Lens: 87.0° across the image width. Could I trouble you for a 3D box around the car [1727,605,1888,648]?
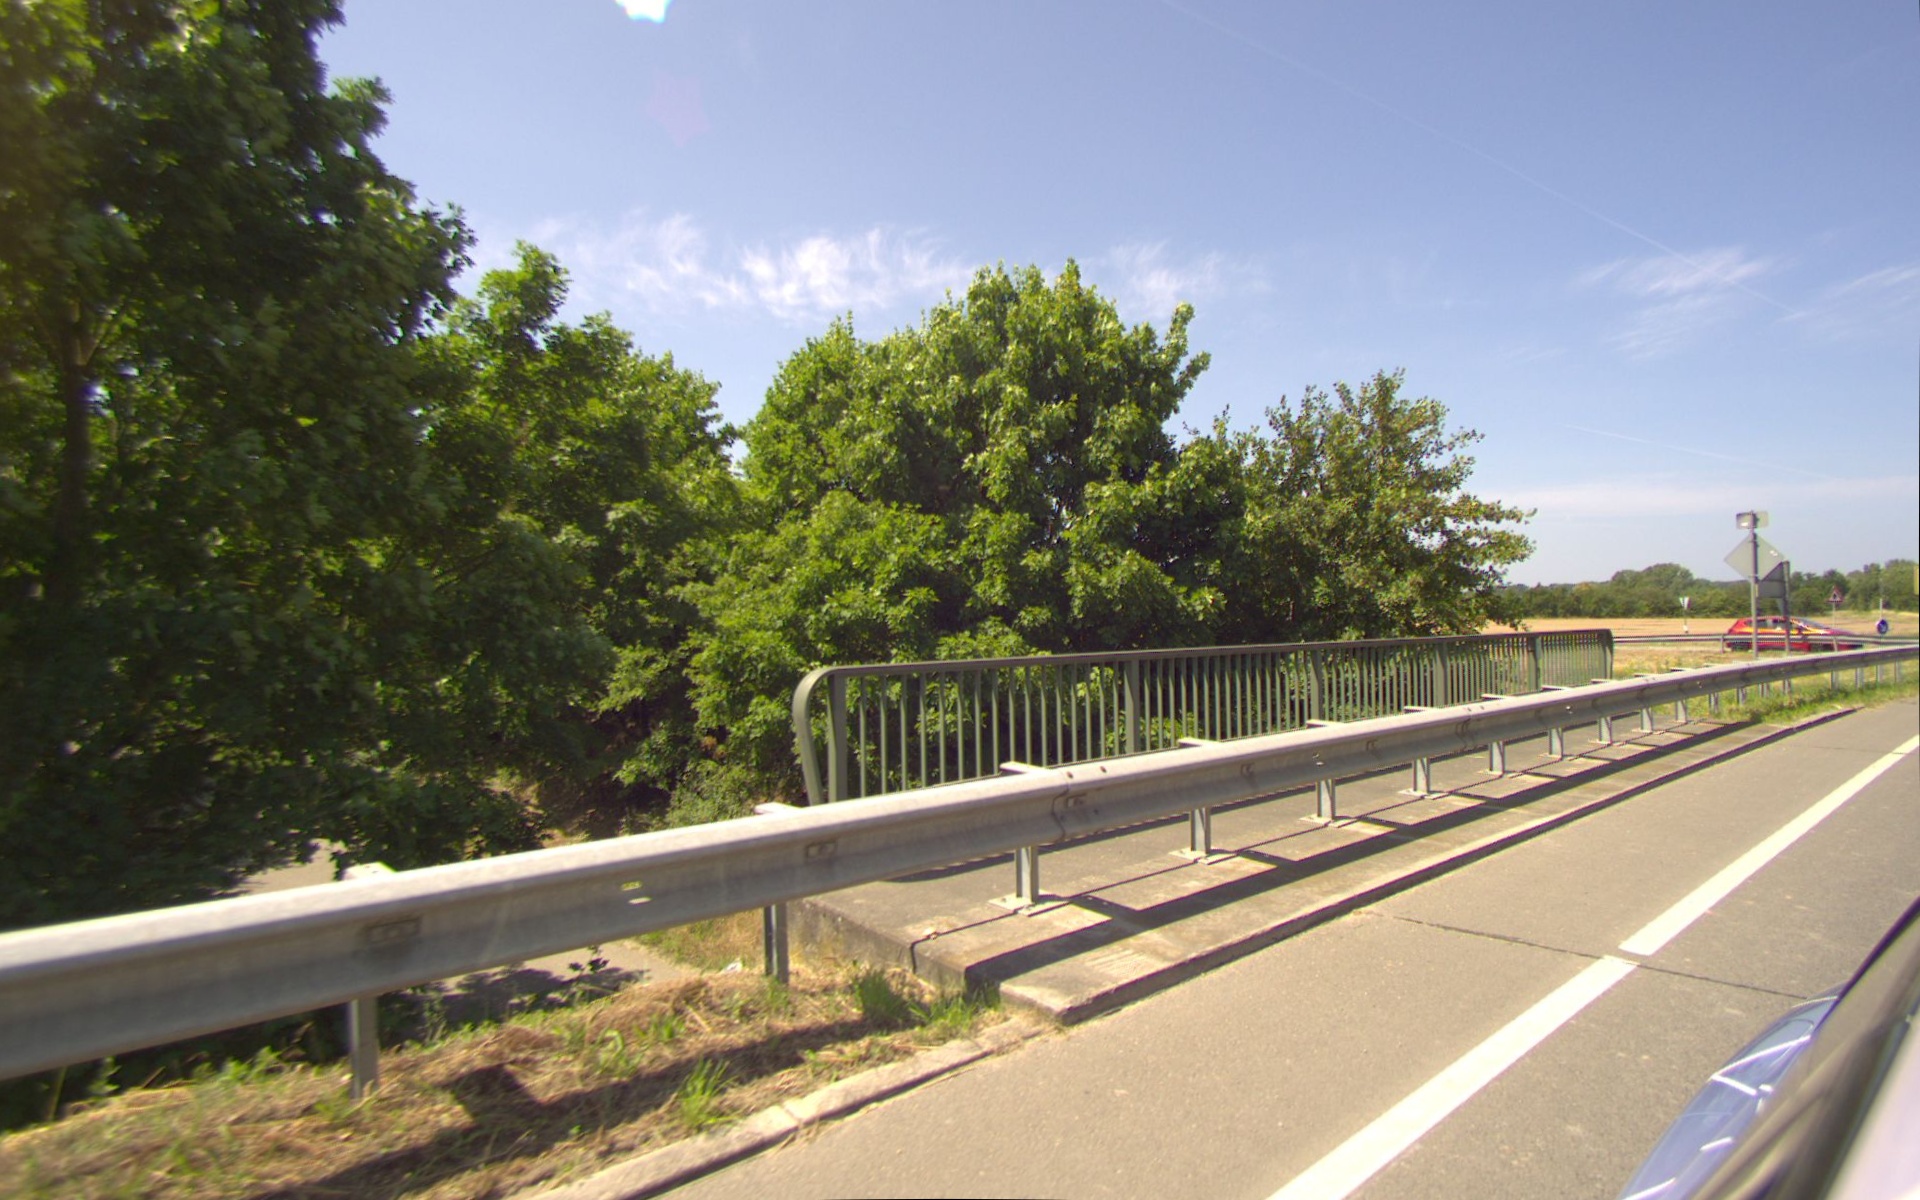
[{"bbox_3d":[31.123,0.970,37.307,1.743,1.437,4.171,-1,-1,-27],"label":"car"}]
